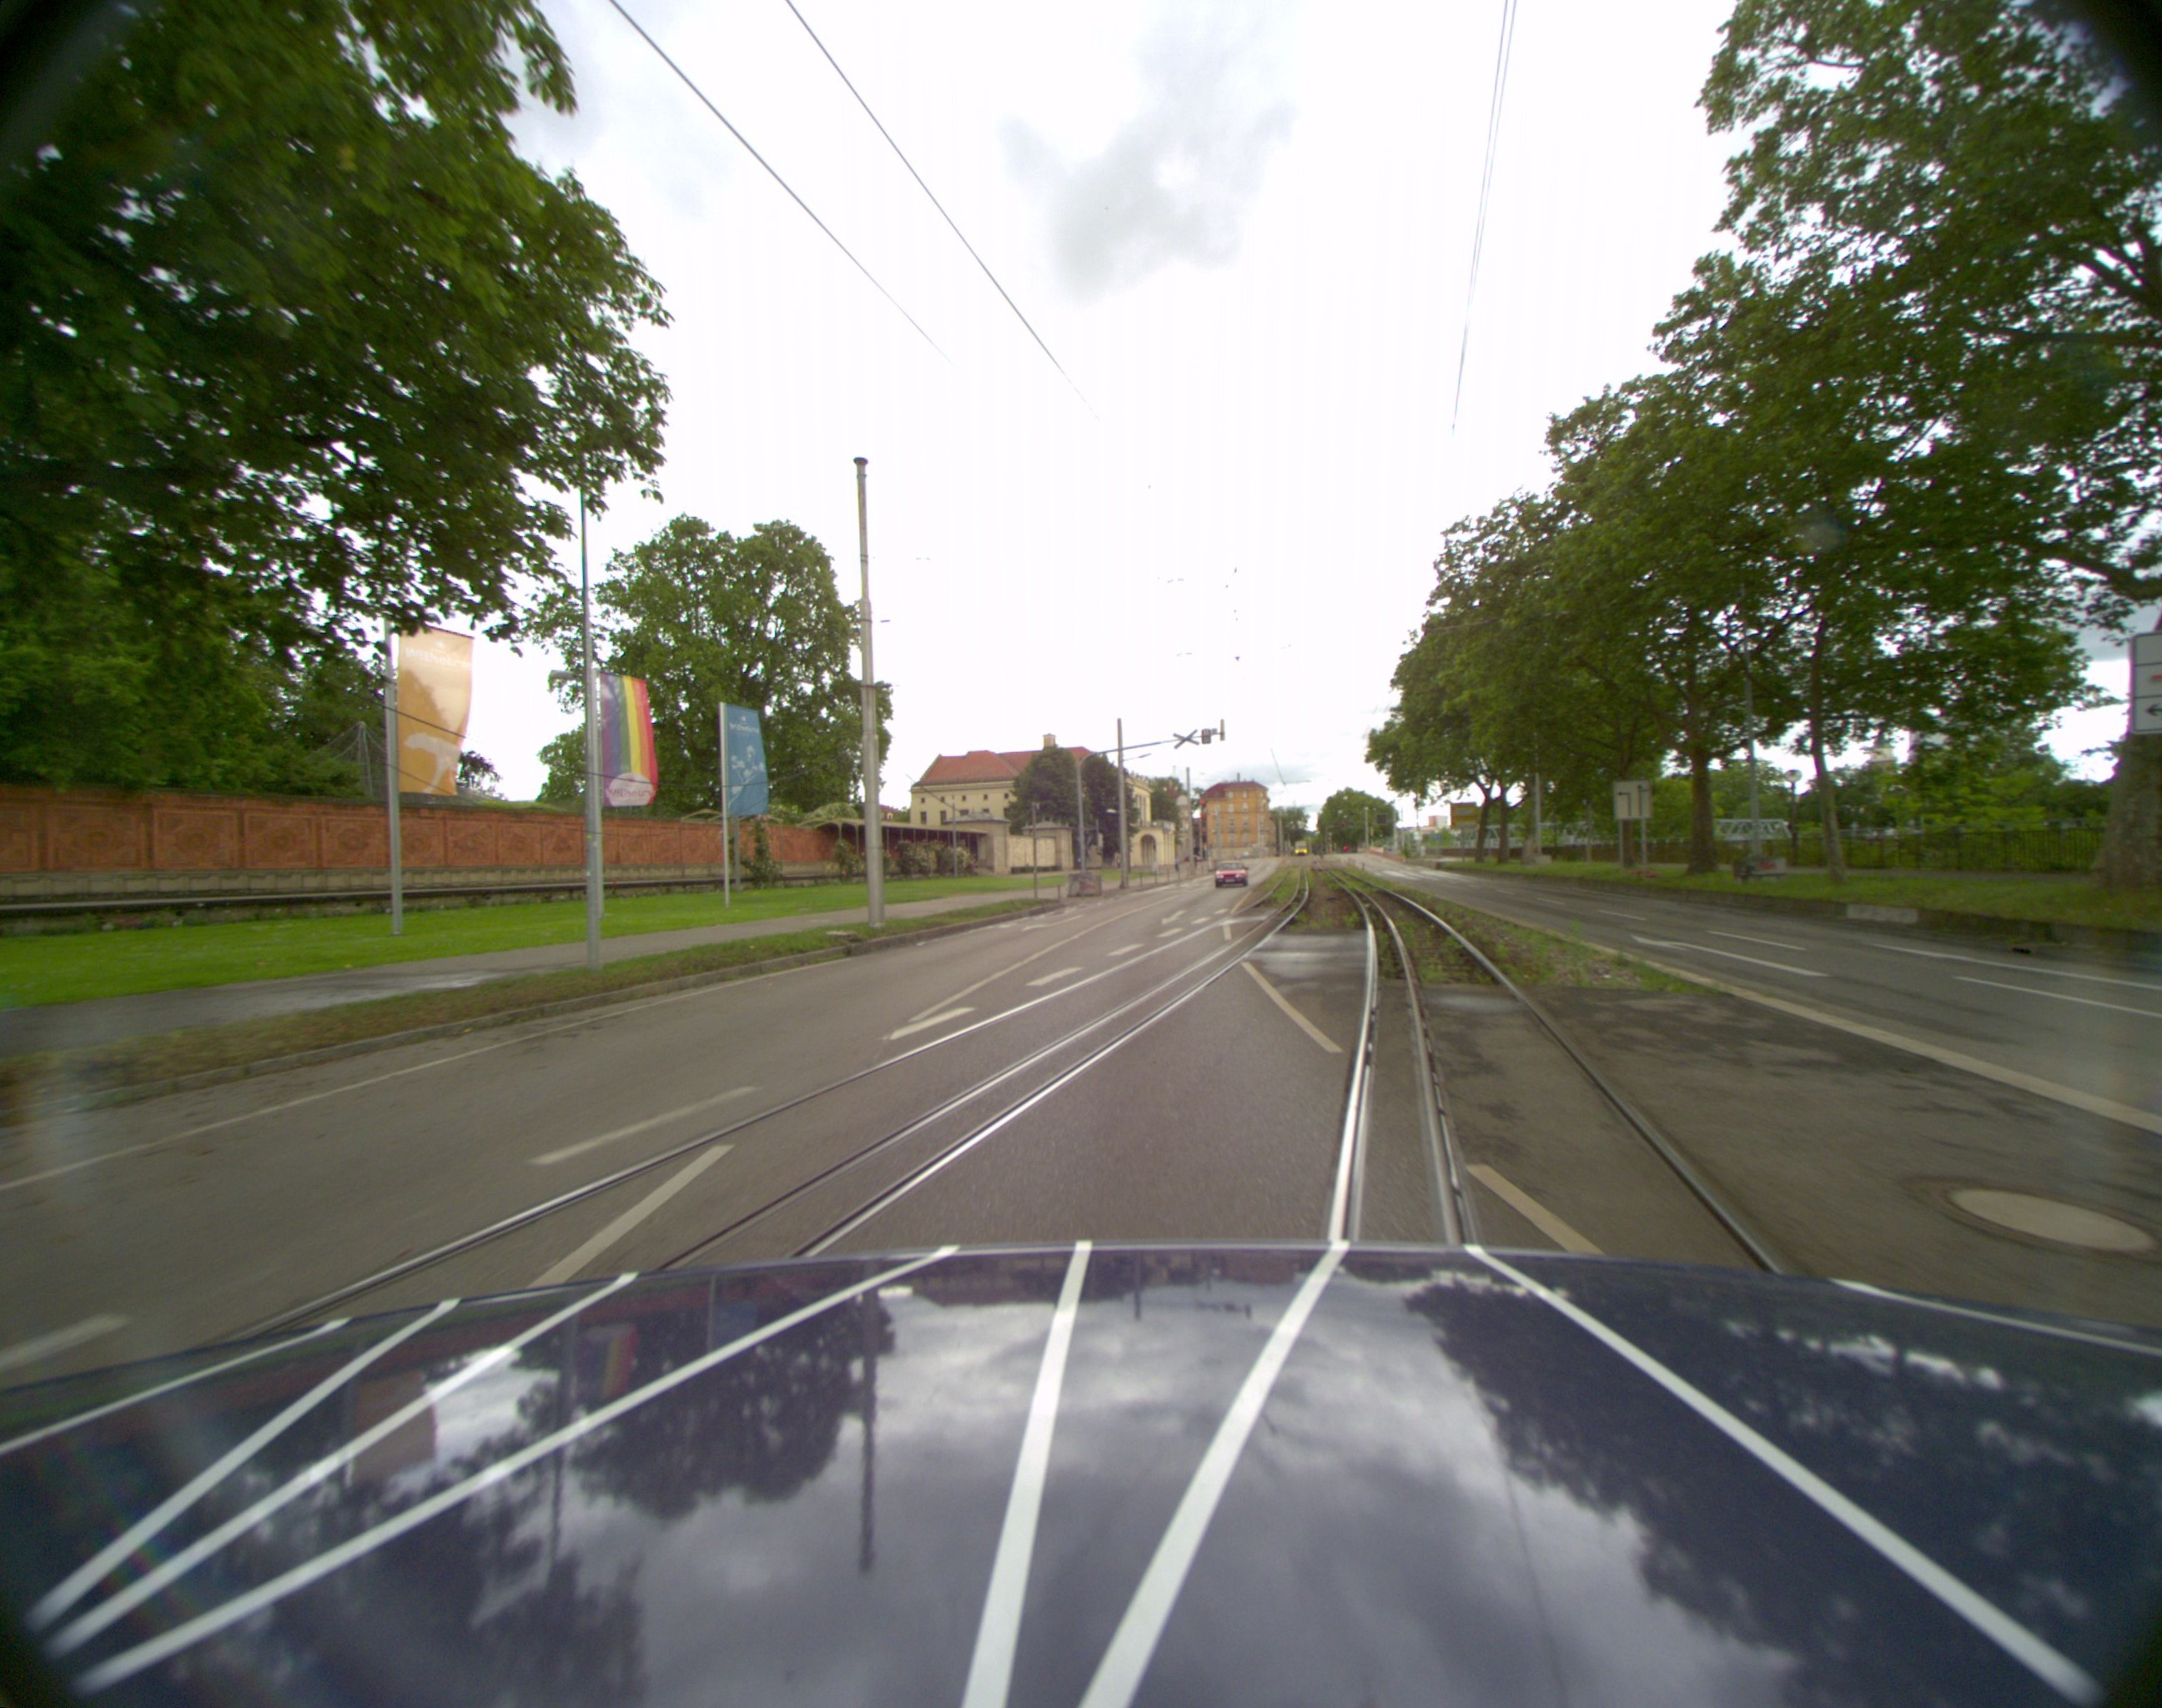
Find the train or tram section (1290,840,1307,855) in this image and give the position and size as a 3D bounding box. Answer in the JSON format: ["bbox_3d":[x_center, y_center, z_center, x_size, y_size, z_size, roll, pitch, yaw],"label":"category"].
[{"bbox_3d":[53.266,-1.749,186.610,3.735,3.346,17.574,-1,1,15],"label":"train or tram section"}]

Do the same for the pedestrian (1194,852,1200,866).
[{"bbox_3d":[15.240,0.642,99.712,0.671,1.757,0.938,-2,0,16],"label":"pedestrian"}]

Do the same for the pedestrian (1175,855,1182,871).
[{"bbox_3d":[10.955,1.024,85.289,0.671,1.757,0.938,-2,0,16],"label":"pedestrian"}]

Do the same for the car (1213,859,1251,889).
[{"bbox_3d":[8.448,1.077,42.237,1.679,1.433,4.124,-4,-1,16],"label":"car"}]

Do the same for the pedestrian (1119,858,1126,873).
[{"bbox_3d":[4.903,1.387,90.262,0.596,1.782,0.809,-2,0,16],"label":"pedestrian"}]
